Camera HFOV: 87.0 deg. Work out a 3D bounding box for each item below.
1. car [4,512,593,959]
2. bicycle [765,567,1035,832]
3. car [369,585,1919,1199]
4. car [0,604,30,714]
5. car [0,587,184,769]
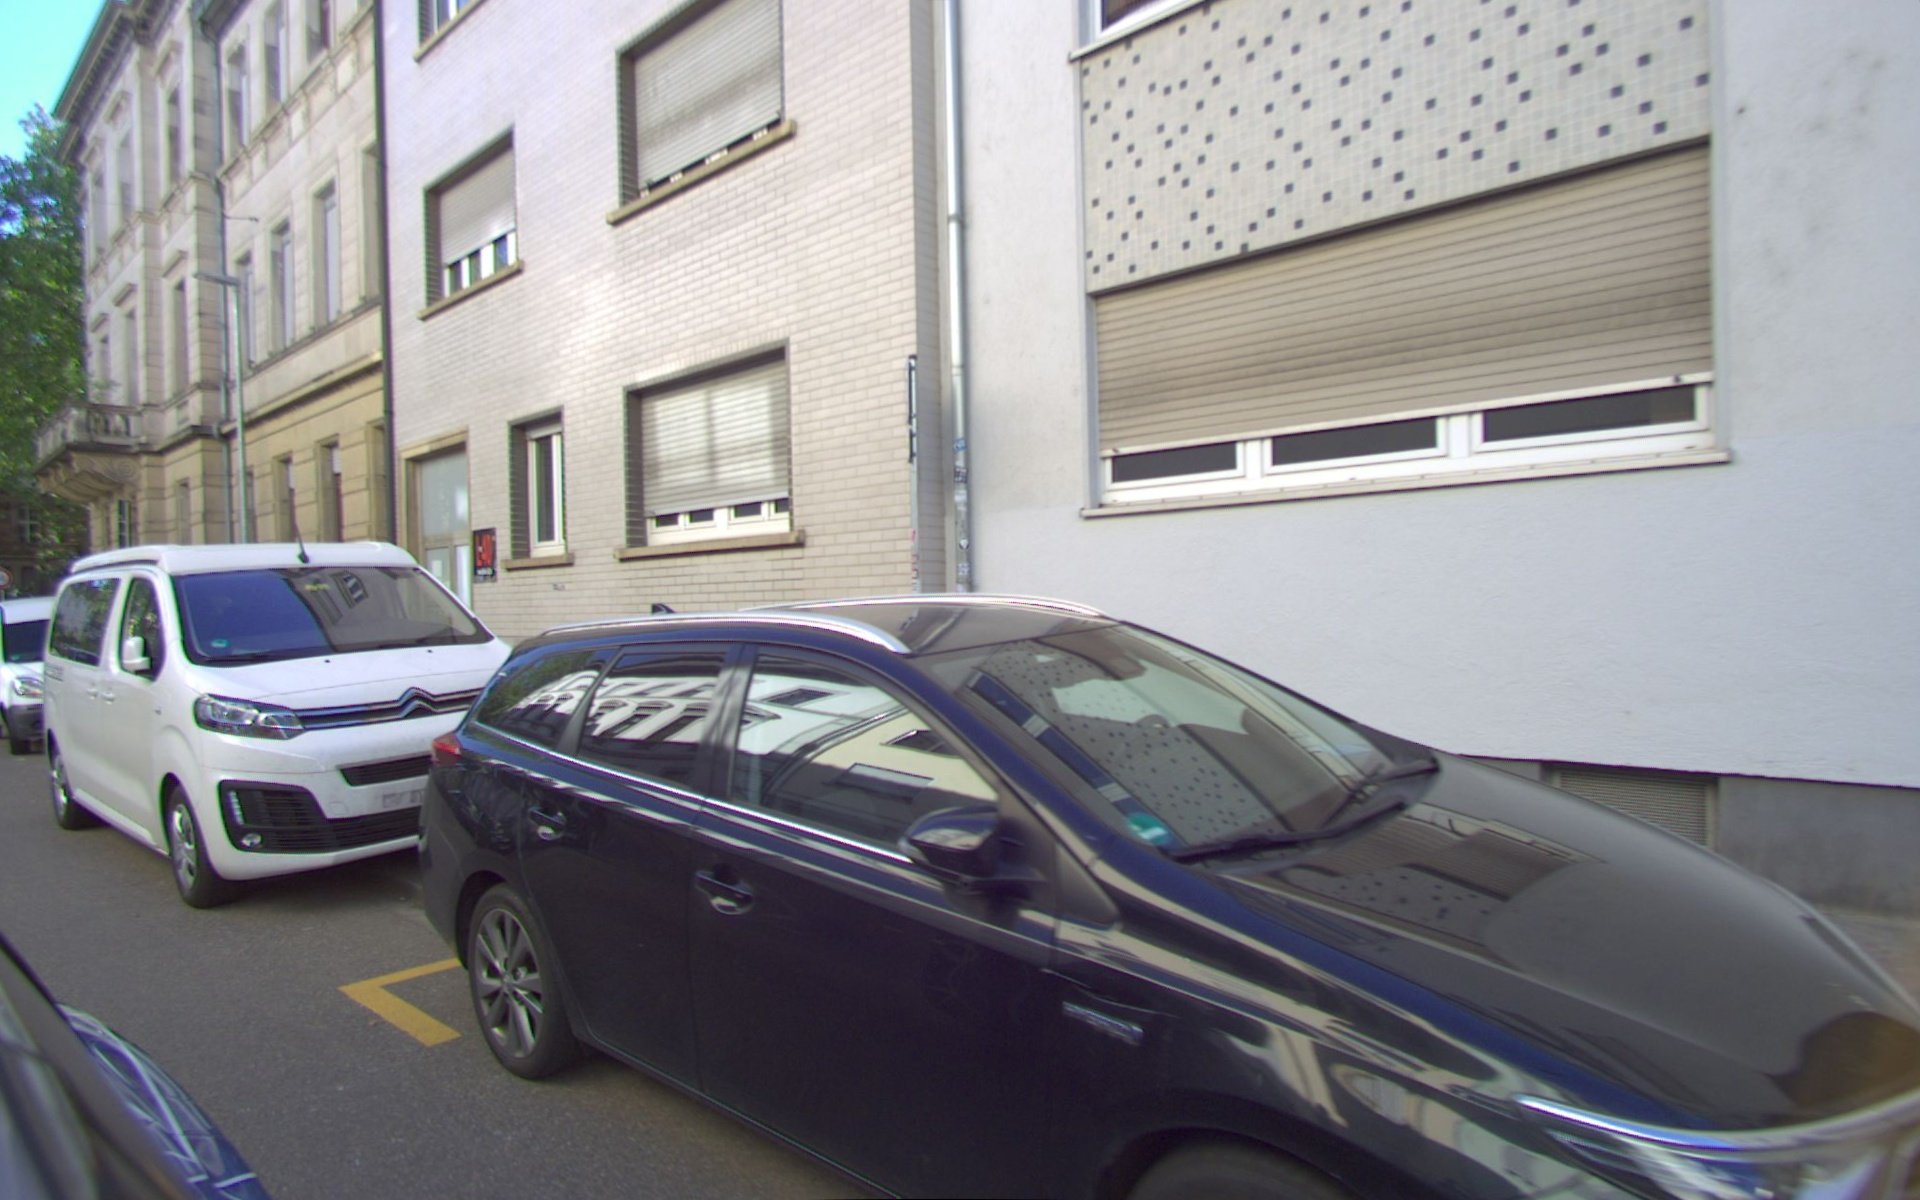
[{"bbox_3d":[-4.618,0.632,6.715,4.776,1.973,1.875,-2,1,40],"label":"car"},{"bbox_3d":[-0.435,0.584,6.602,1.798,1.520,0.552,-1,1,38],"label":"bicycle"},{"bbox_3d":[0.126,0.747,2.794,4.298,1.461,1.689,-1,0,40],"label":"car"},{"bbox_3d":[-19.729,1.128,19.661,4.541,2.029,2.000,-1,-1,42],"label":"car"},{"bbox_3d":[-11.554,0.909,12.943,4.088,1.890,1.727,-2,2,41],"label":"car"}]
